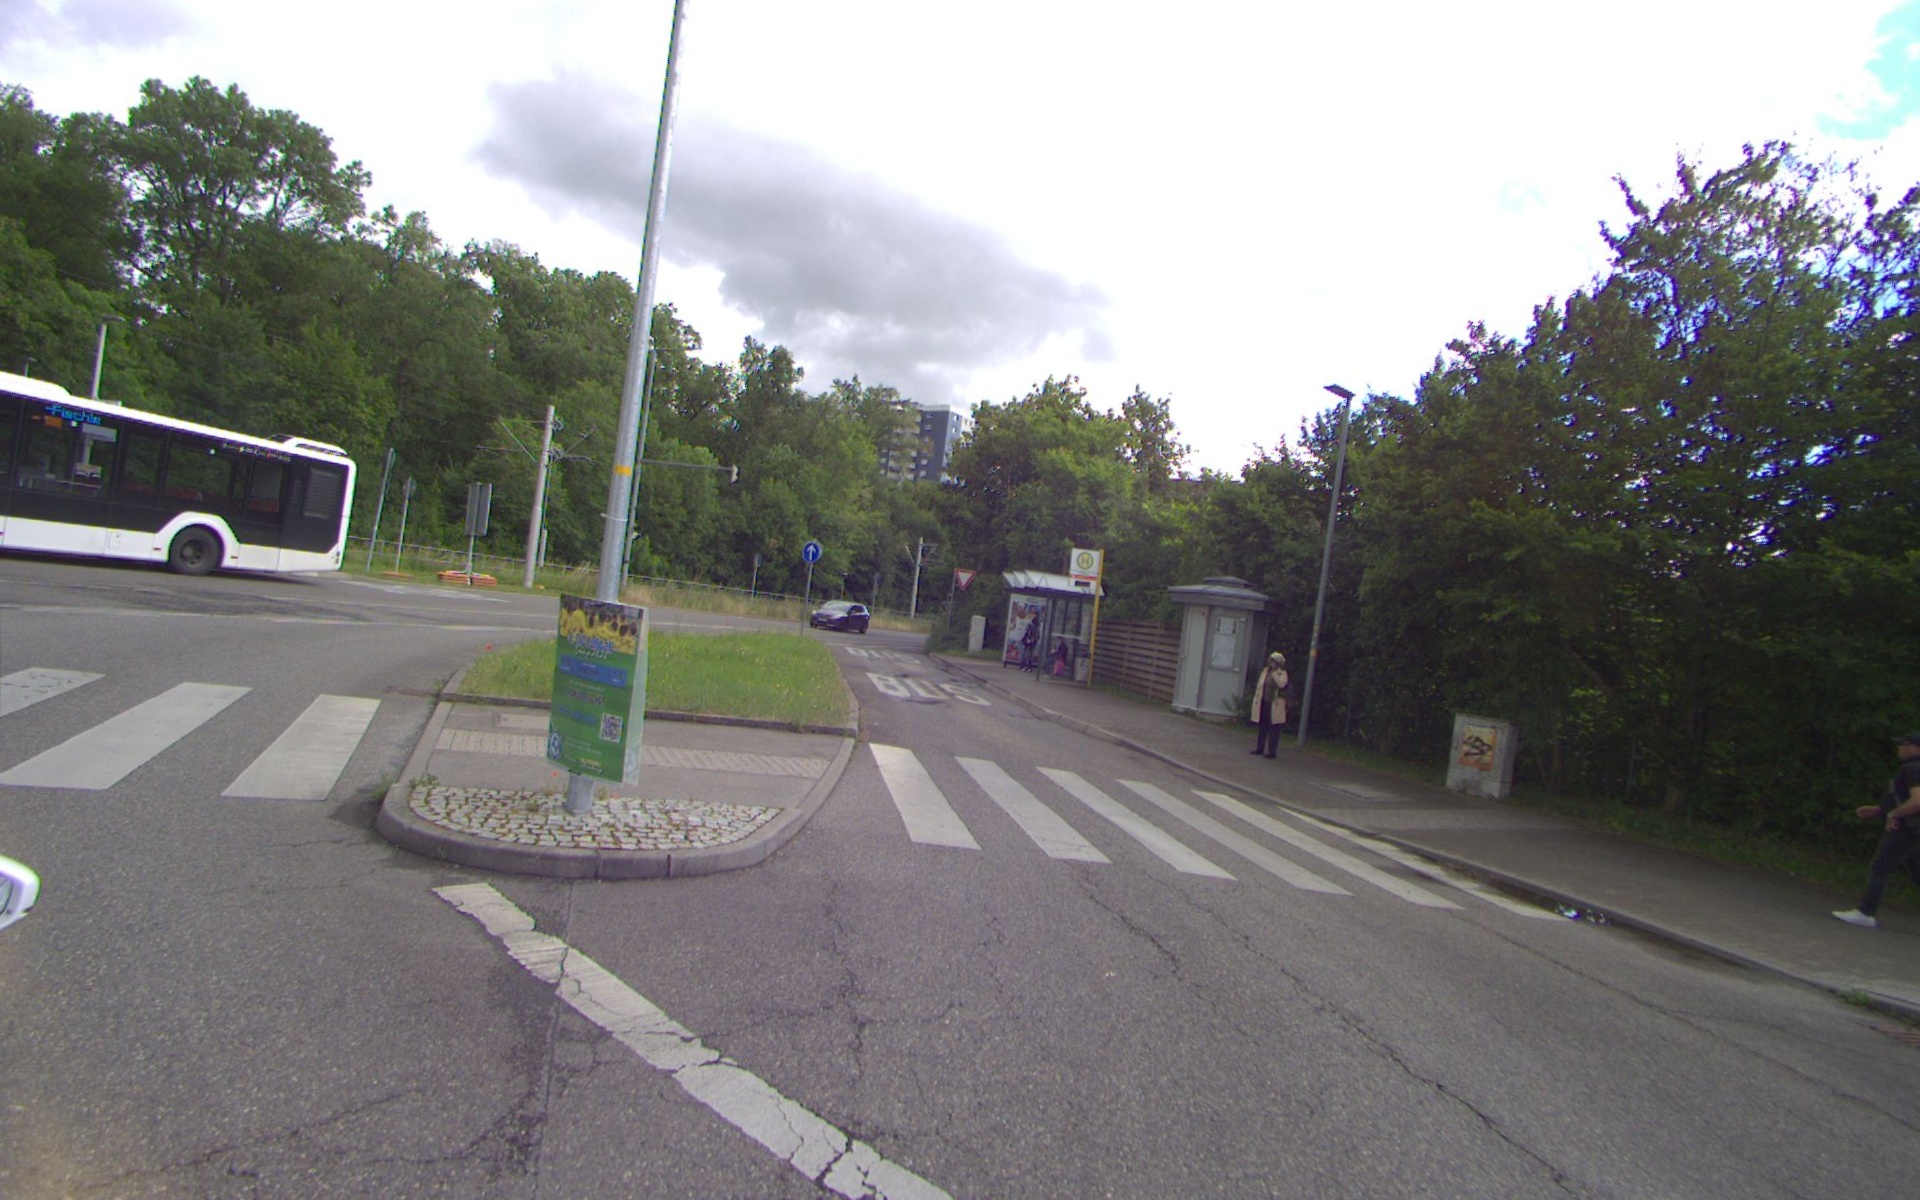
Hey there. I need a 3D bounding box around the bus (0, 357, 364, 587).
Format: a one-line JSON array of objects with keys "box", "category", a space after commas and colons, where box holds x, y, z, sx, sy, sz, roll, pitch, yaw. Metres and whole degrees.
[{"box": [-16.549, -2.391, 17.221, 2.624, 3.241, 12.208, 8, -1, 16], "category": "bus"}]

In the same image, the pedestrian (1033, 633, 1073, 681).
[{"box": [2.512, 1.541, 27.346, 0.738, 1.184, 0.769, 8, 0, -13], "category": "pedestrian"}]

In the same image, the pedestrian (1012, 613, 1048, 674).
[{"box": [2.048, 1.250, 29.363, 0.757, 1.670, 0.686, 8, 0, -3], "category": "pedestrian"}]

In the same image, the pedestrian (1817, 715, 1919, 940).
[{"box": [8.632, 2.049, 9.030, 0.846, 1.844, 0.980, 8, 0, -22], "category": "pedestrian"}]

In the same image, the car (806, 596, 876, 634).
[{"box": [-5.752, 0.775, 49.155, 1.728, 1.451, 4.433, 8, -1, 14], "category": "car"}]

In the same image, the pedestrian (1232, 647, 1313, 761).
[{"box": [4.878, 1.617, 15.731, 0.677, 1.614, 0.768, 7, 2, -17], "category": "pedestrian"}]
